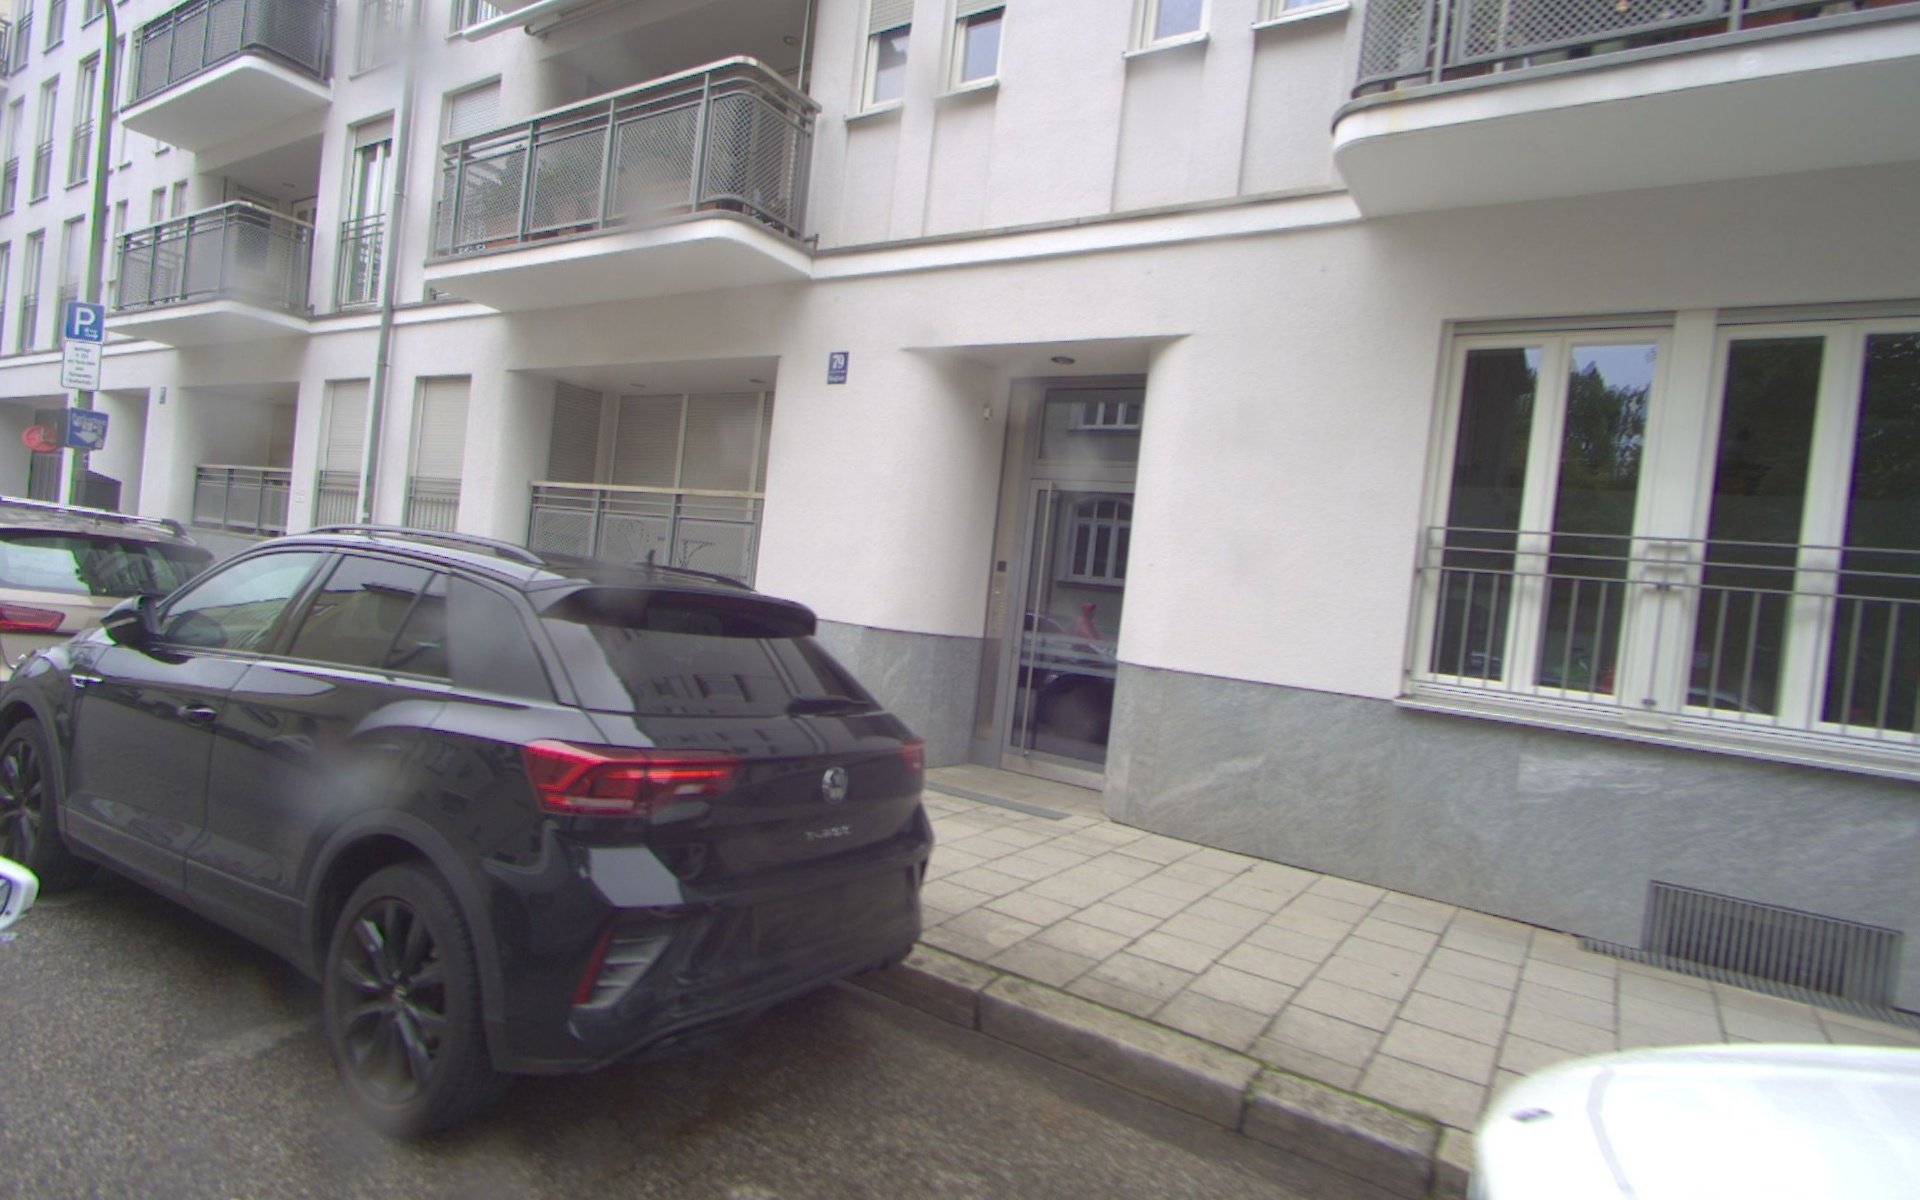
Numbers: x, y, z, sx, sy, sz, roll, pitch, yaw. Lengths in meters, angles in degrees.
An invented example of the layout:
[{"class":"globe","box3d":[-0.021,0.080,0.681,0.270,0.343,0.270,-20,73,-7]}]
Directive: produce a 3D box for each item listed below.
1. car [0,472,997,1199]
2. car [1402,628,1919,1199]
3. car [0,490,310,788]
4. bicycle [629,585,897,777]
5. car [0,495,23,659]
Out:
[{"class":"car","box3d":[-2.032,0.513,3.836,3.918,1.548,1.607,7,-2,32]},{"class":"car","box3d":[2.594,1.040,0.638,4.137,1.456,1.661,7,-2,32]},{"class":"car","box3d":[-6.631,0.044,6.895,4.545,1.548,1.737,7,-2,32]},{"class":"bicycle","box3d":[-1.591,0.583,7.917,2.092,1.175,0.628,7,2,31]},{"class":"car","box3d":[-10.870,-0.444,9.859,3.468,1.548,1.522,7,-1,32]}]
